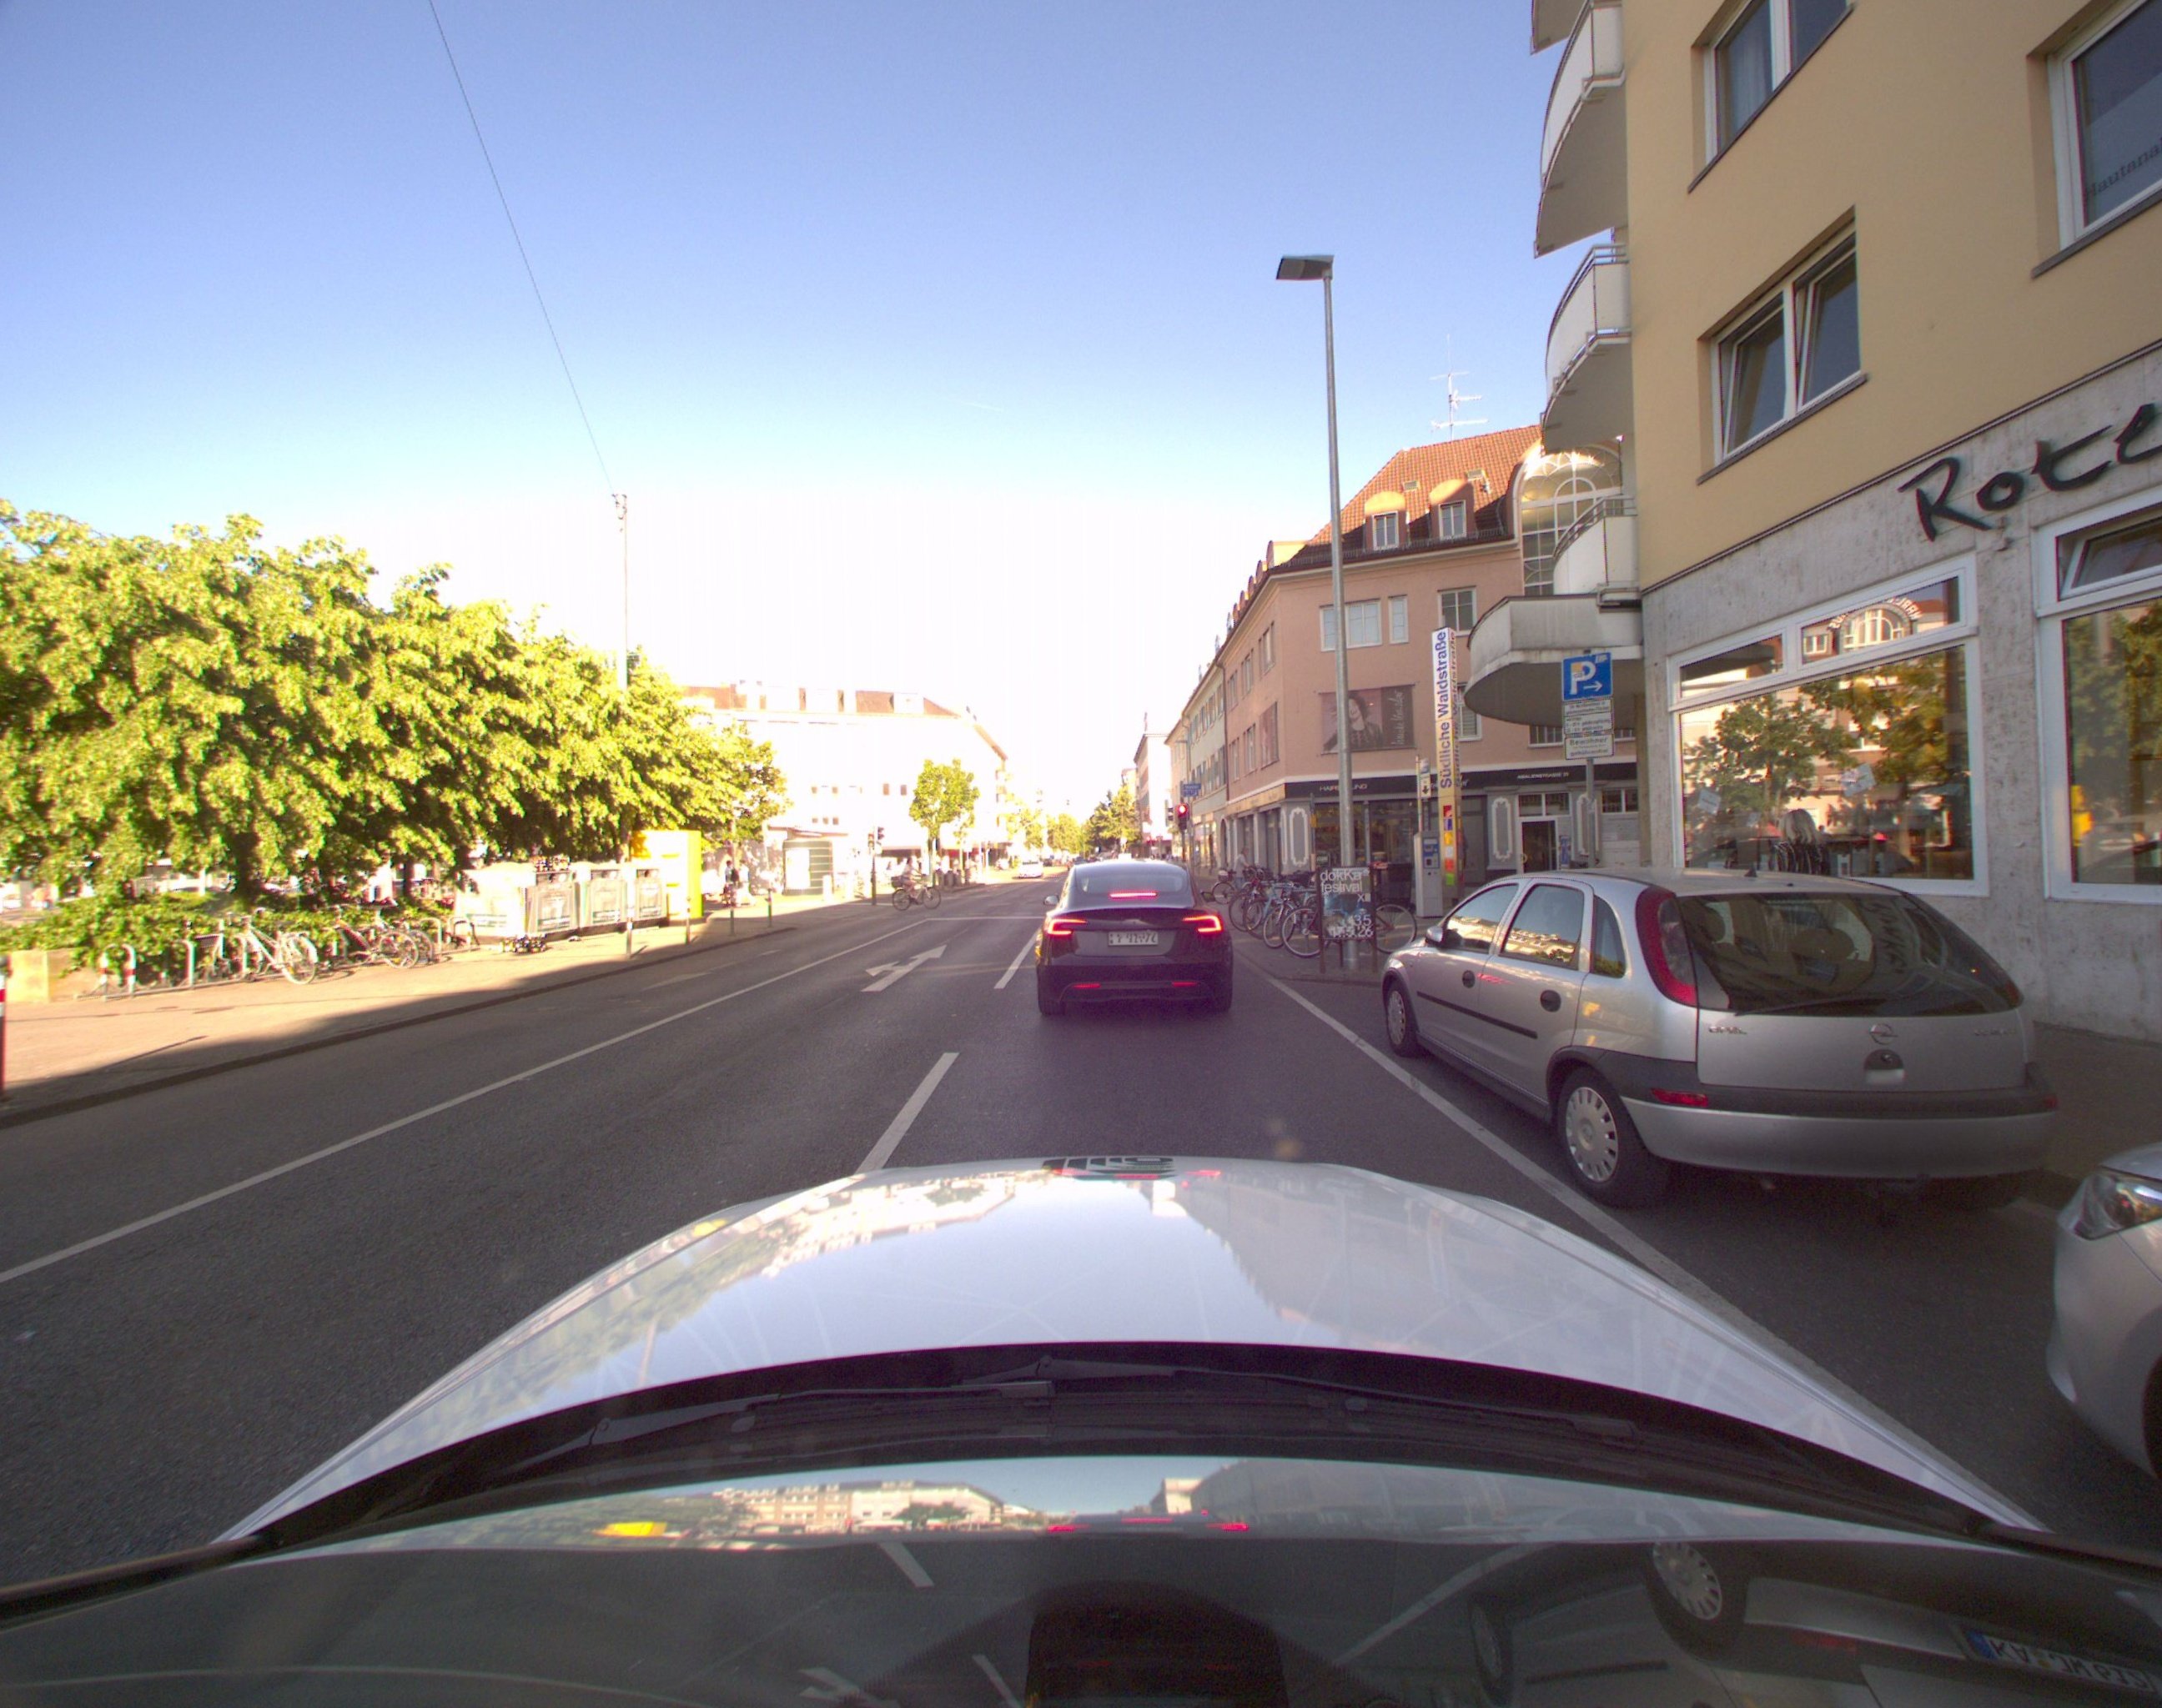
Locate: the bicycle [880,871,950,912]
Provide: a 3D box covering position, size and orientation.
[{"bbox_3d":[-5.368,1.212,26.388,2.108,1.200,0.631,-4,-1,18],"label":"bicycle"}]

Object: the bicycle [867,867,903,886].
[{"bbox_3d":[-12.417,1.430,51.638,2.075,1.104,0.806,-1,0,1],"label":"bicycle"}]

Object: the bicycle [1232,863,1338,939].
[{"bbox_3d":[3.404,0.784,13.660,1.622,1.160,0.433,-3,0,0],"label":"bicycle"}]

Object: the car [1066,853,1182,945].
[{"bbox_3d":[0.789,0.739,15.109,1.842,1.455,3.788,-1,0,3],"label":"car"}]

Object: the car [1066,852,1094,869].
[{"bbox_3d":[-0.165,0.720,91.704,2.053,1.727,4.631,-1,0,-14],"label":"car"}]

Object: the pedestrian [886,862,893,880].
[{"bbox_3d":[-14.735,1.290,62.670,0.419,1.339,0.393,-1,0,-5],"label":"pedestrian"}]

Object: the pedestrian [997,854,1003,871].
[{"bbox_3d":[-9.429,1.012,95.044,0.623,2.013,0.575,-1,0,1],"label":"pedestrian"}]

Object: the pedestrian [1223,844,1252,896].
[{"bbox_3d":[4.421,0.446,22.994,0.739,1.440,0.583,-1,-1,6],"label":"pedestrian"}]

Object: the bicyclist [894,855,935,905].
[{"bbox_3d":[-5.391,0.825,26.405,1.088,1.589,0.631,-1,0,18],"label":"bicyclist"}]

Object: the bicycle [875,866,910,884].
[{"bbox_3d":[-12.459,1.399,53.835,2.075,1.104,0.806,-1,0,1],"label":"bicycle"}]

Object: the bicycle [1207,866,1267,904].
[{"bbox_3d":[4.395,0.865,22.990,1.607,1.045,0.592,-1,-1,5],"label":"bicycle"}]

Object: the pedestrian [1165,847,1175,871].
[{"bbox_3d":[6.812,0.373,62.340,0.701,1.783,0.534,-1,0,1],"label":"pedestrian"}]

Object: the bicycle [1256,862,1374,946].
[{"bbox_3d":[3.570,0.755,12.486,1.622,1.160,0.433,-3,0,0],"label":"bicycle"}]

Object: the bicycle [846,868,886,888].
[{"bbox_3d":[-12.373,1.394,46.859,2.075,1.104,0.806,-1,0,1],"label":"bicycle"}]

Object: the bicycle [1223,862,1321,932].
[{"bbox_3d":[3.474,0.772,14.860,1.622,1.160,0.433,-3,0,0],"label":"bicycle"}]

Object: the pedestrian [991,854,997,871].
[{"bbox_3d":[-10.183,0.977,95.074,0.623,2.013,0.707,-1,0,1],"label":"pedestrian"}]

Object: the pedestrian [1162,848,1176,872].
[{"bbox_3d":[6.726,0.470,62.192,0.995,1.850,0.615,-1,0,1],"label":"pedestrian"}]

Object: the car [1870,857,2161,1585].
[{"bbox_3d":[3.009,0.717,0.167,1.666,1.427,4.074,-1,0,-2],"label":"car"}]

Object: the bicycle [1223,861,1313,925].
[{"bbox_3d":[3.666,0.759,16.005,1.621,1.160,0.433,-3,0,2],"label":"bicycle"}]

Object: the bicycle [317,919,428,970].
[{"bbox_3d":[-11.279,1.441,12.980,1.465,0.769,0.442,-1,-1,6],"label":"bicycle"}]

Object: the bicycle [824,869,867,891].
[{"bbox_3d":[-12.791,1.406,44.347,2.075,1.104,0.806,-1,0,1],"label":"bicycle"}]

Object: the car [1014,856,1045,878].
[{"bbox_3d":[-4.052,0.994,64.549,1.986,1.541,4.002,-5,0,2],"label":"car"}]

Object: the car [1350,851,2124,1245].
[{"bbox_3d":[2.990,0.706,4.876,1.615,1.394,3.888,-1,0,3],"label":"car"}]

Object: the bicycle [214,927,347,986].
[{"bbox_3d":[-11.370,1.438,11.575,1.645,0.769,0.476,-1,-1,10],"label":"bicycle"}]

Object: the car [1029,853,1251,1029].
[{"bbox_3d":[0.585,0.740,8.776,1.842,1.455,3.788,-1,0,3],"label":"car"}]

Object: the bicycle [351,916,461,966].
[{"bbox_3d":[-11.208,1.435,13.539,1.466,0.769,0.475,-1,-1,4],"label":"bicycle"}]

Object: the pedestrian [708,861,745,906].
[{"bbox_3d":[-13.264,1.079,30.482,0.981,1.636,0.738,-1,0,5],"label":"pedestrian"}]

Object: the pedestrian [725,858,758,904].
[{"bbox_3d":[-12.991,1.039,31.192,0.897,1.725,0.745,-1,0,5],"label":"pedestrian"}]

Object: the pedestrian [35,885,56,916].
[{"bbox_3d":[-61.296,2.738,48.225,0.576,1.792,0.604,-1,-1,19],"label":"pedestrian"}]

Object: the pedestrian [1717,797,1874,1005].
[{"bbox_3d":[5.968,0.379,6.841,0.659,1.633,0.629,-4,-1,6],"label":"pedestrian"}]
